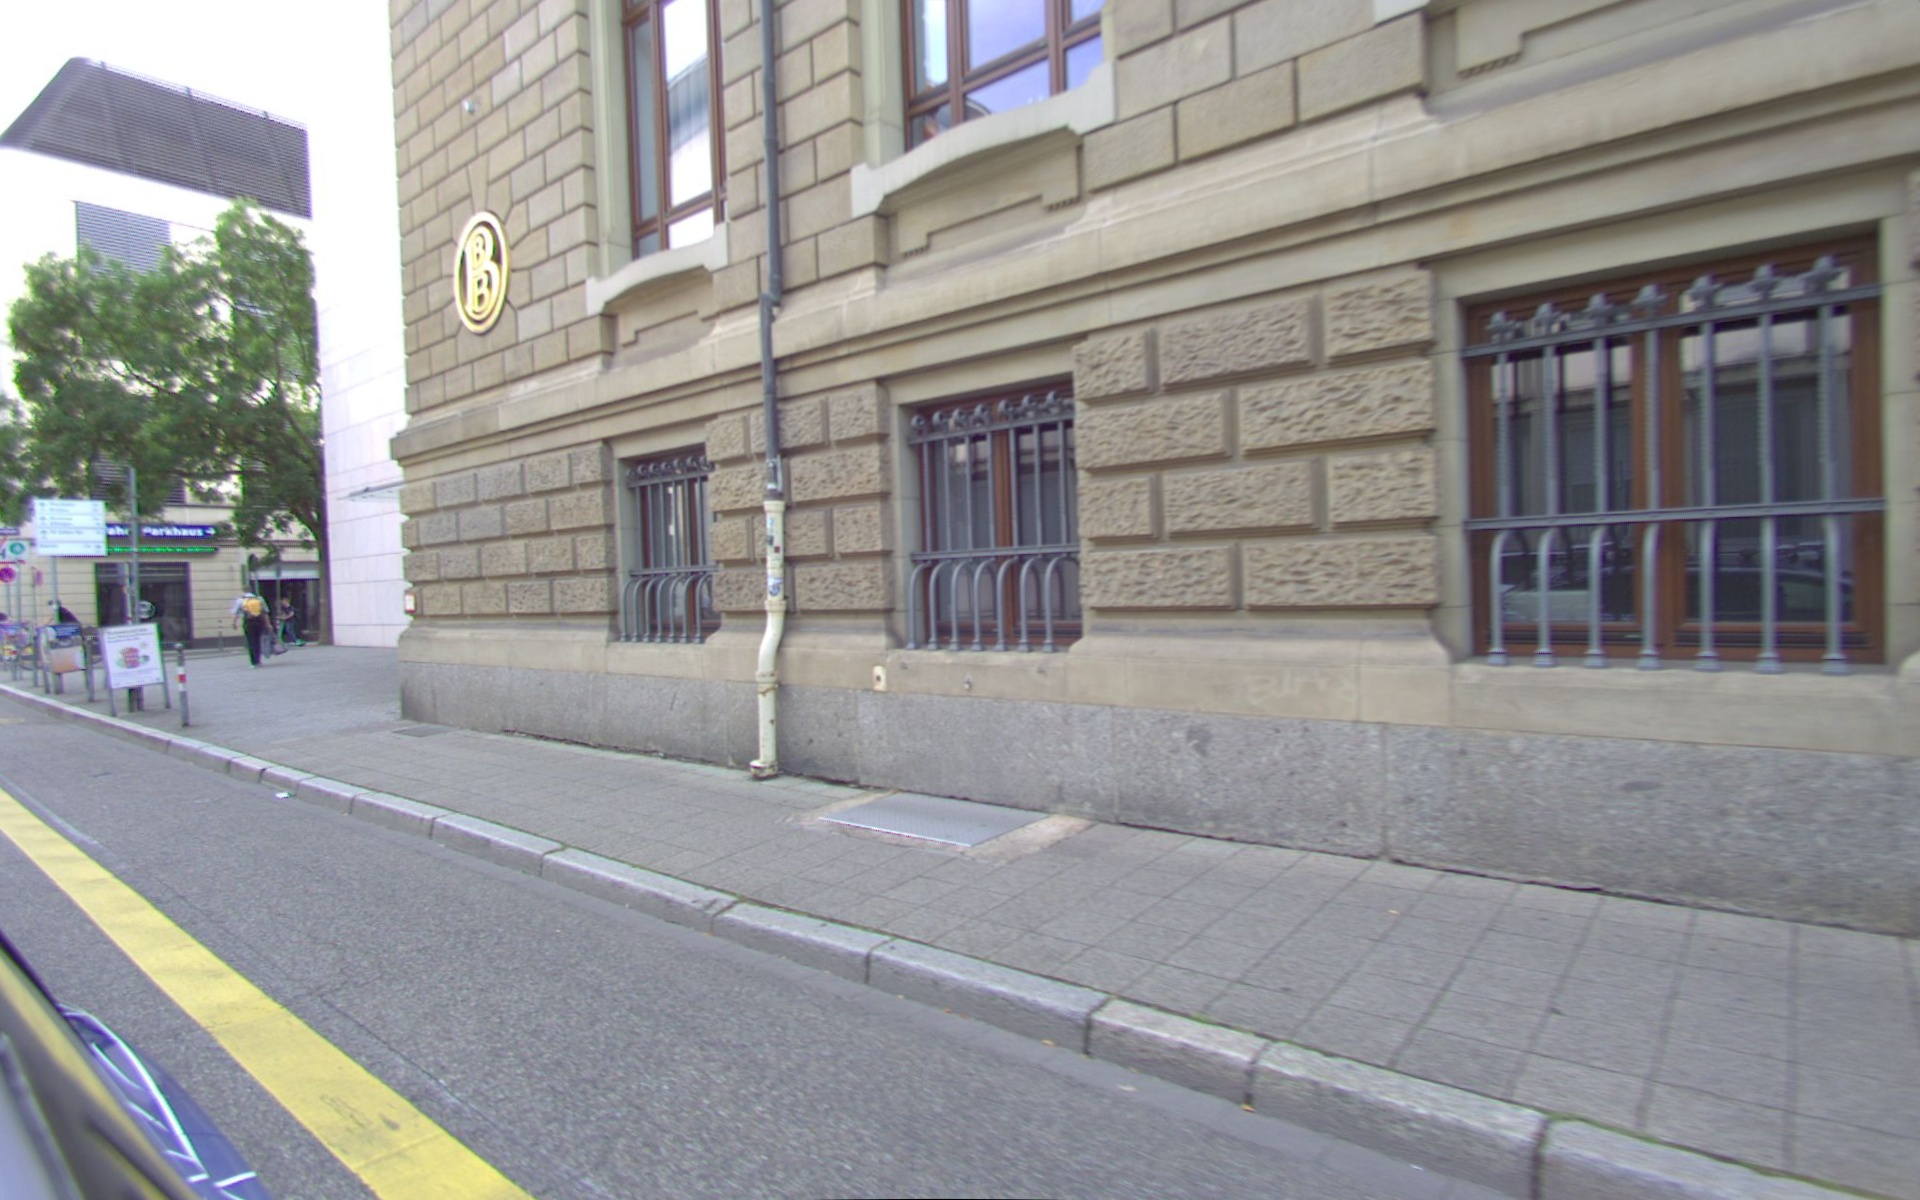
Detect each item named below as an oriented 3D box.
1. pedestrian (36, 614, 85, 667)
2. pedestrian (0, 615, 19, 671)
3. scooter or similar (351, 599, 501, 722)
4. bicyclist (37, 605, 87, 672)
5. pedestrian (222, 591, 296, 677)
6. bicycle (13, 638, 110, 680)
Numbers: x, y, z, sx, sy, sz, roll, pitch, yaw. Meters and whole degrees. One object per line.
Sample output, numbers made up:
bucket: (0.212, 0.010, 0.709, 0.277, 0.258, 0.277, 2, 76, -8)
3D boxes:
pedestrian: (-32.109, 1.427, 36.115, 0.892, 1.777, 1.047, -1, 5, 41)
pedestrian: (-30.716, 1.377, 32.200, 0.909, 1.721, 0.868, -1, 5, 40)
scooter or similar: (-6.603, 0.723, 12.572, 0.586, 1.320, 1.433, -3, 3, 39)
bicyclist: (-23.024, 0.969, 25.964, 0.633, 1.631, 0.625, -5, 2, -15)
pedestrian: (-15.032, 0.705, 21.701, 0.818, 1.732, 1.016, -1, 3, 40)
bicycle: (-23.033, 1.512, 25.970, 1.696, 0.840, 0.603, -6, 1, -15)
